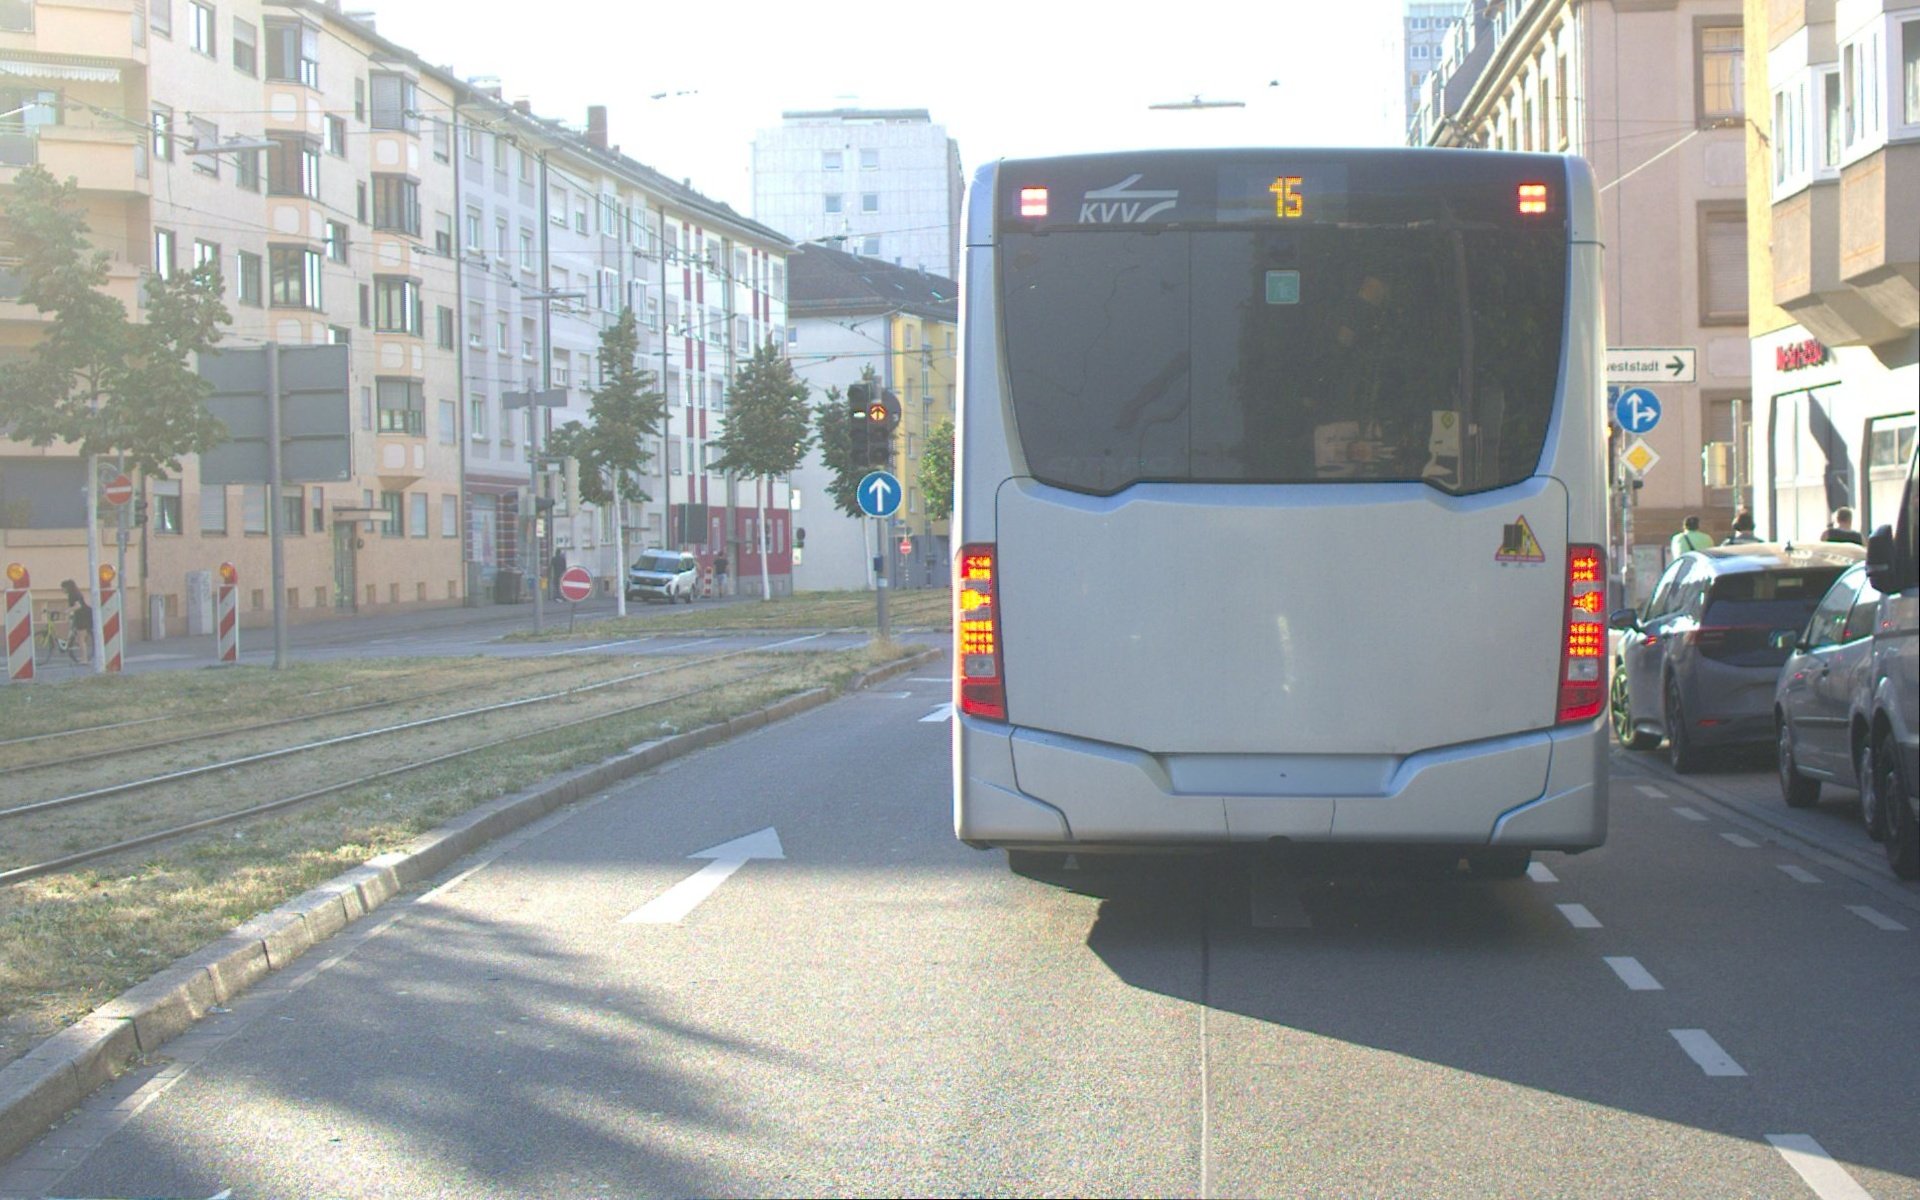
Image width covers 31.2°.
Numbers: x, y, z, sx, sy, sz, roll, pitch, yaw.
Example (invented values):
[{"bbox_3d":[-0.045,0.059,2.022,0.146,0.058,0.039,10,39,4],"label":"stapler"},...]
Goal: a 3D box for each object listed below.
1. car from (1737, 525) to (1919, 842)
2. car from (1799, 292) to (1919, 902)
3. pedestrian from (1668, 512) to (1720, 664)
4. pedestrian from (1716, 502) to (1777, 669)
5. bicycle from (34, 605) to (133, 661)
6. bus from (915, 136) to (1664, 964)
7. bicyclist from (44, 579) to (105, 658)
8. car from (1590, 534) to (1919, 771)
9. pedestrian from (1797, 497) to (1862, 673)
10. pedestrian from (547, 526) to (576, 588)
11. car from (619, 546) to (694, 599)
[{"bbox_3d":[5.534,0.372,19.050,1.839,1.582,3.785,-1,1,5],"label":"car"},{"bbox_3d":[4.937,-0.041,13.626,2.017,2.542,5.784,-4,0,4],"label":"car"},{"bbox_3d":[8.705,-0.147,40.793,0.547,1.778,0.449,-1,1,9],"label":"pedestrian"},{"bbox_3d":[8.465,-0.158,37.019,0.547,1.778,0.449,-1,1,4],"label":"pedestrian"},{"bbox_3d":[-16.423,0.618,64.454,0.528,0.980,1.879,-1,1,35],"label":"bicycle"},{"bbox_3d":[1.541,-0.261,17.163,2.739,3.045,8.852,0,1,4],"label":"bus"},{"bbox_3d":[-16.554,0.343,64.260,0.528,1.442,0.963,-1,1,35],"label":"bicyclist"},{"bbox_3d":[5.713,0.314,24.820,1.839,1.531,4.229,-1,1,4],"label":"car"},{"bbox_3d":[8.838,-0.152,34.961,0.547,1.778,0.449,1,0,4],"label":"pedestrian"},{"bbox_3d":[-13.083,-1.404,112.823,0.786,2.007,0.891,-1,1,1],"label":"pedestrian"},{"bbox_3d":[-10.605,-0.974,120.272,1.812,1.791,4.244,-1,1,6],"label":"car"}]
